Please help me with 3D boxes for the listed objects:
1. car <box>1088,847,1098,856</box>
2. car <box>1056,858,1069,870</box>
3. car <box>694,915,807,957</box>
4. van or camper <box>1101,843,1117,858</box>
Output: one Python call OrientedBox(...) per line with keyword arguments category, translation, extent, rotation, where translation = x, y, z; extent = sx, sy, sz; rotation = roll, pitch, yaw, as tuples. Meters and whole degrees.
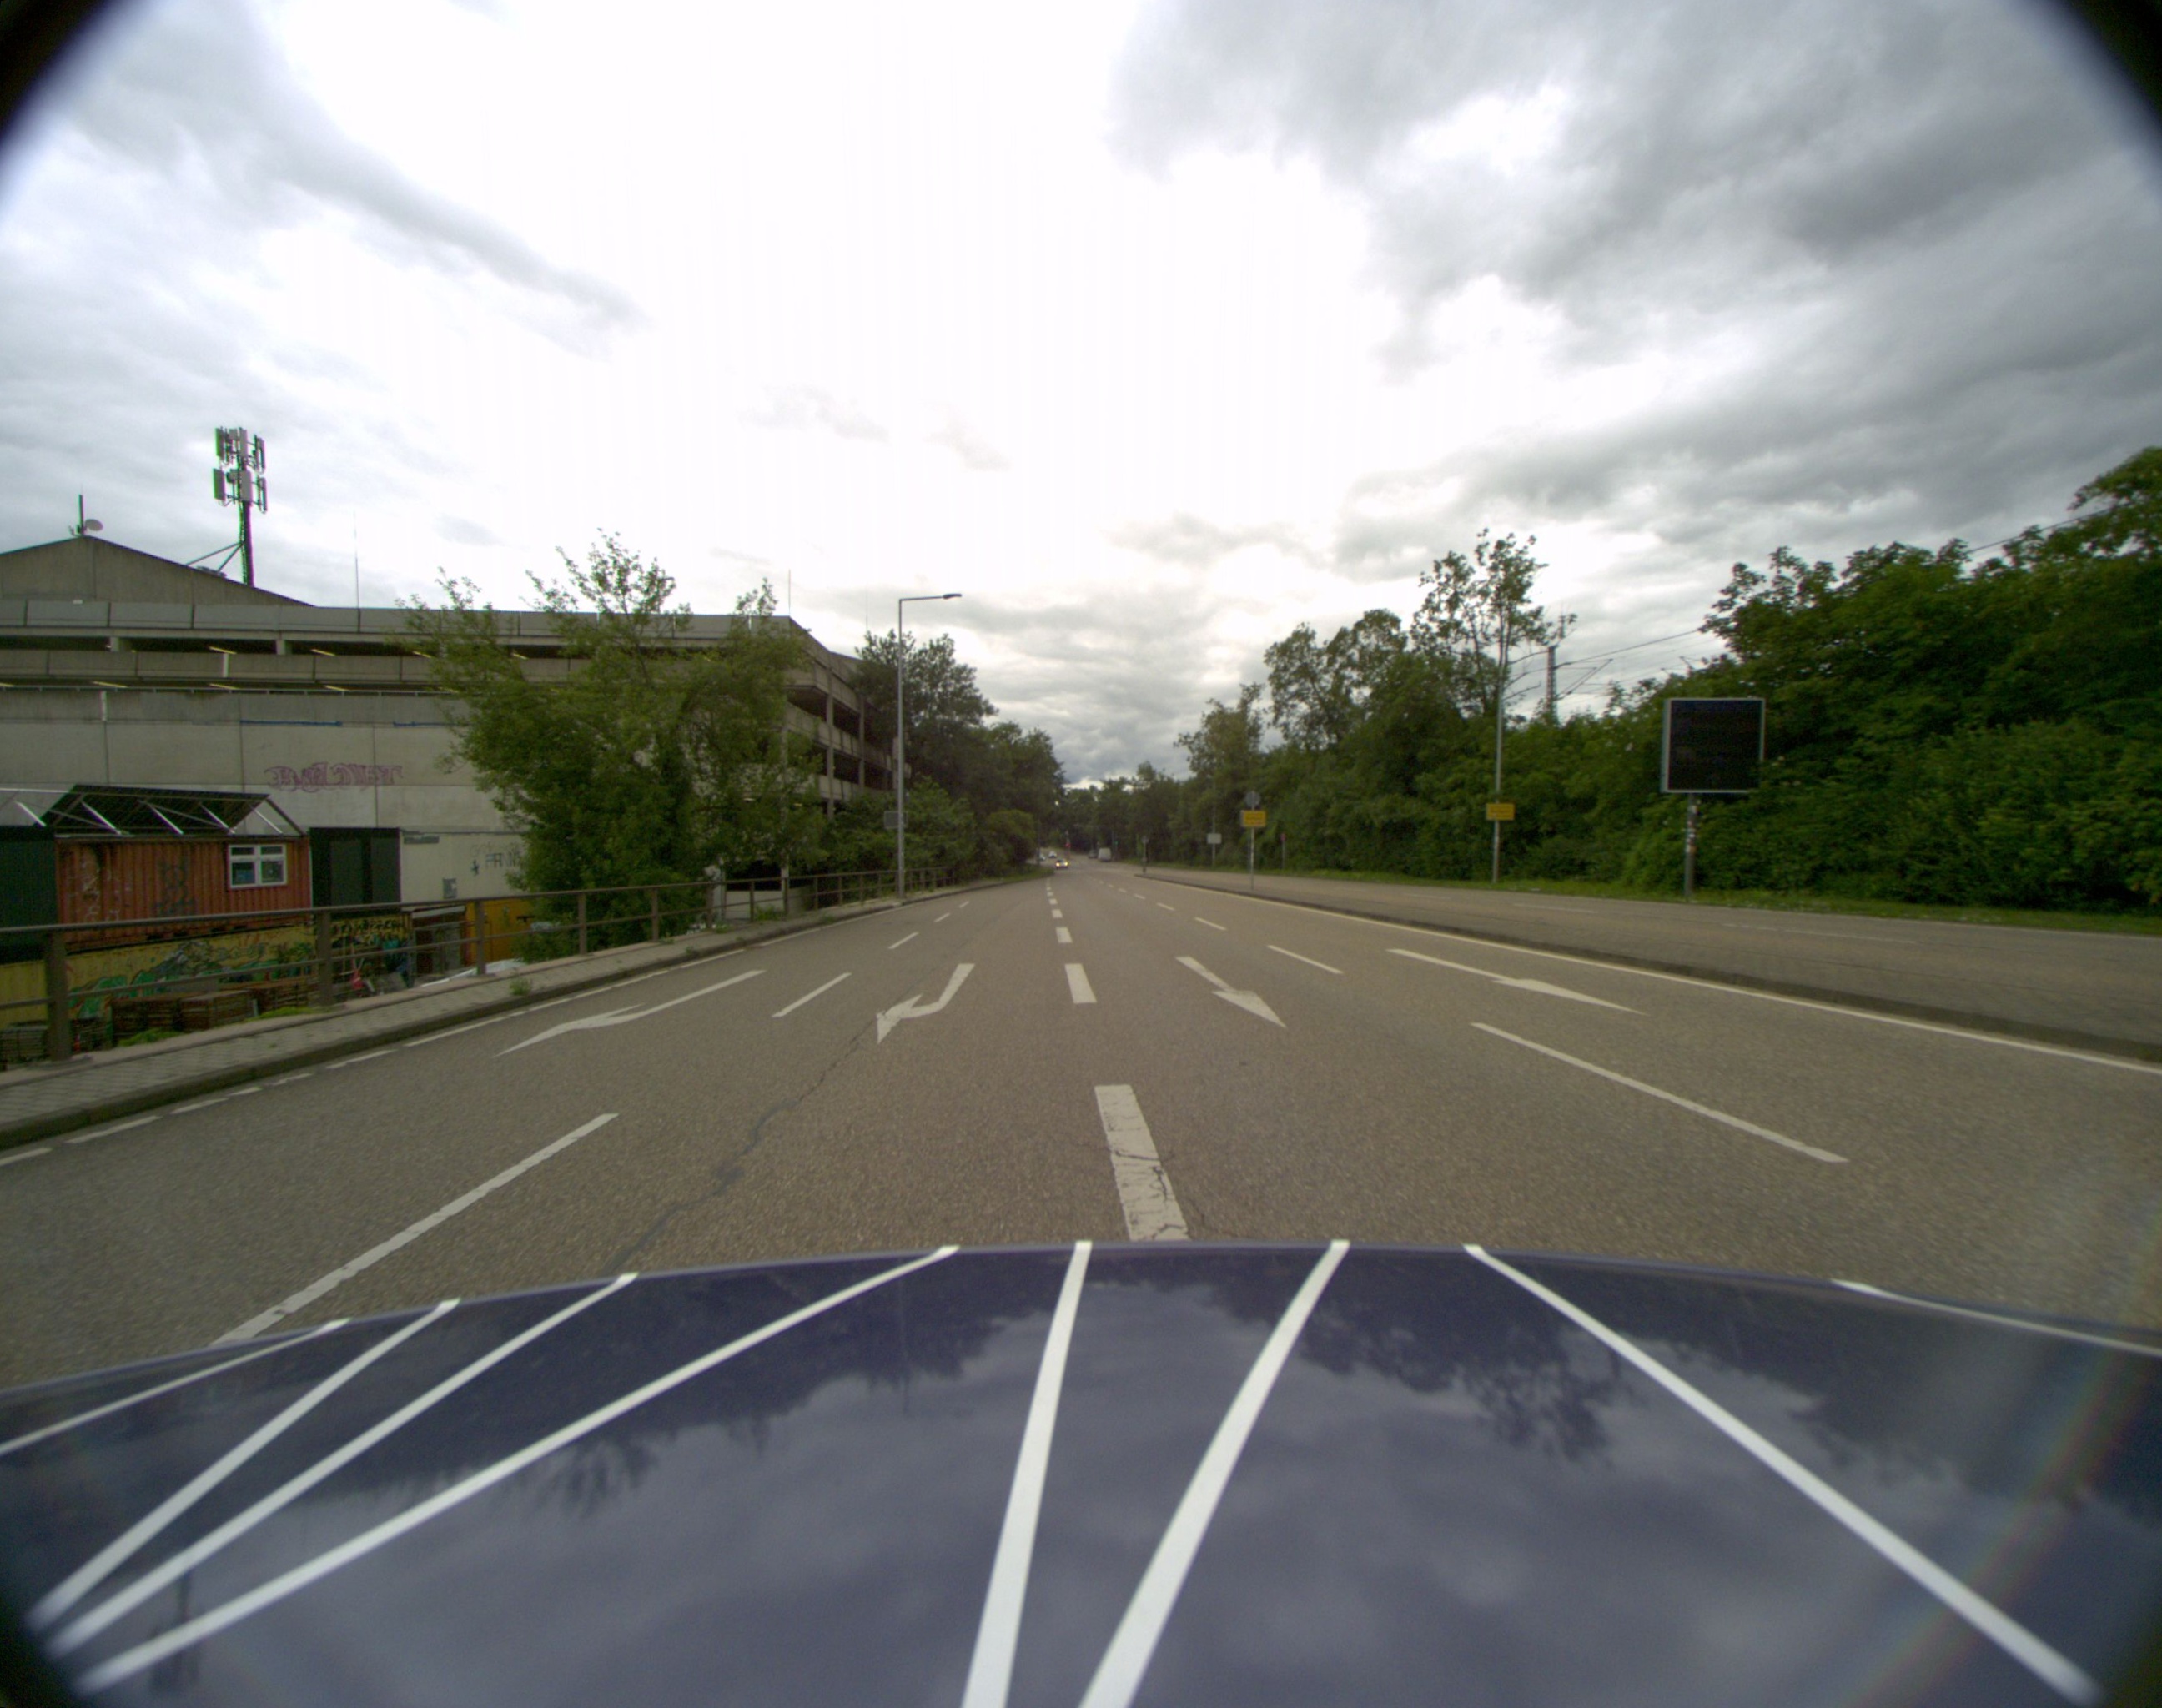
OrientedBox(category="car", translation=(2.692, -0.571, 172.753), extent=(1.818, 1.819, 4.382), rotation=(-1, 0, -5))
OrientedBox(category="car", translation=(-2.702, 1.359, 109.406), extent=(1.855, 1.471, 4.507), rotation=(-2, 2, -2))
OrientedBox(category="car", translation=(-16.541, 4.099, 38.272), extent=(4.758, 1.775, 1.998), rotation=(-1, 2, -4))
OrientedBox(category="van or camper", translation=(5.422, -0.657, 148.961), extent=(2.289, 2.540, 6.857), rotation=(-6, 1, -3))
